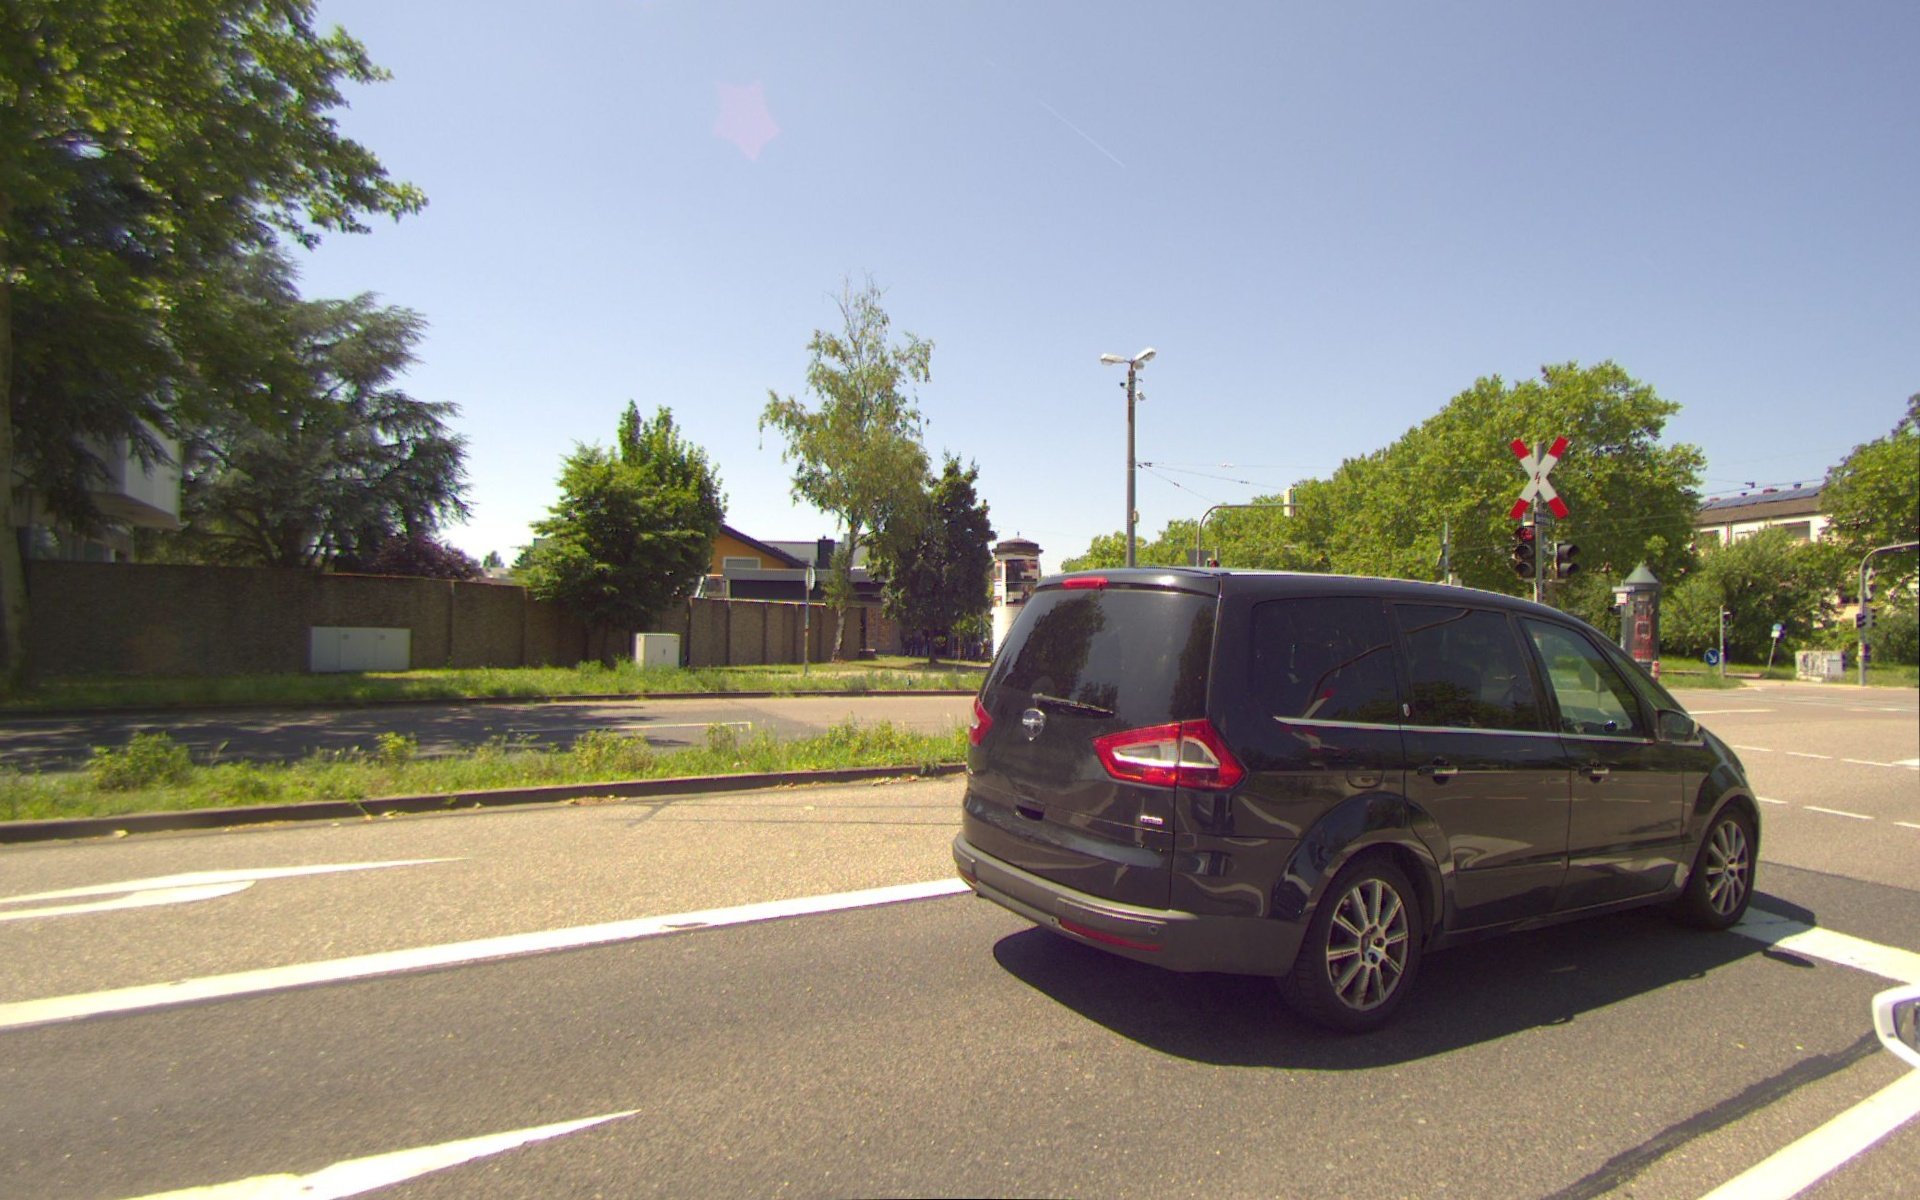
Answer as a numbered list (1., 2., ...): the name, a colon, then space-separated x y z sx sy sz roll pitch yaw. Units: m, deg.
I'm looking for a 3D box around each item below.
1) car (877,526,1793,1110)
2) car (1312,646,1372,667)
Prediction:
1. car: 2.062 0.738 5.048 4.595 1.779 1.845 2 -1 -31
2. car: 29.354 4.313 77.168 4.059 1.415 1.458 2 -1 -6
